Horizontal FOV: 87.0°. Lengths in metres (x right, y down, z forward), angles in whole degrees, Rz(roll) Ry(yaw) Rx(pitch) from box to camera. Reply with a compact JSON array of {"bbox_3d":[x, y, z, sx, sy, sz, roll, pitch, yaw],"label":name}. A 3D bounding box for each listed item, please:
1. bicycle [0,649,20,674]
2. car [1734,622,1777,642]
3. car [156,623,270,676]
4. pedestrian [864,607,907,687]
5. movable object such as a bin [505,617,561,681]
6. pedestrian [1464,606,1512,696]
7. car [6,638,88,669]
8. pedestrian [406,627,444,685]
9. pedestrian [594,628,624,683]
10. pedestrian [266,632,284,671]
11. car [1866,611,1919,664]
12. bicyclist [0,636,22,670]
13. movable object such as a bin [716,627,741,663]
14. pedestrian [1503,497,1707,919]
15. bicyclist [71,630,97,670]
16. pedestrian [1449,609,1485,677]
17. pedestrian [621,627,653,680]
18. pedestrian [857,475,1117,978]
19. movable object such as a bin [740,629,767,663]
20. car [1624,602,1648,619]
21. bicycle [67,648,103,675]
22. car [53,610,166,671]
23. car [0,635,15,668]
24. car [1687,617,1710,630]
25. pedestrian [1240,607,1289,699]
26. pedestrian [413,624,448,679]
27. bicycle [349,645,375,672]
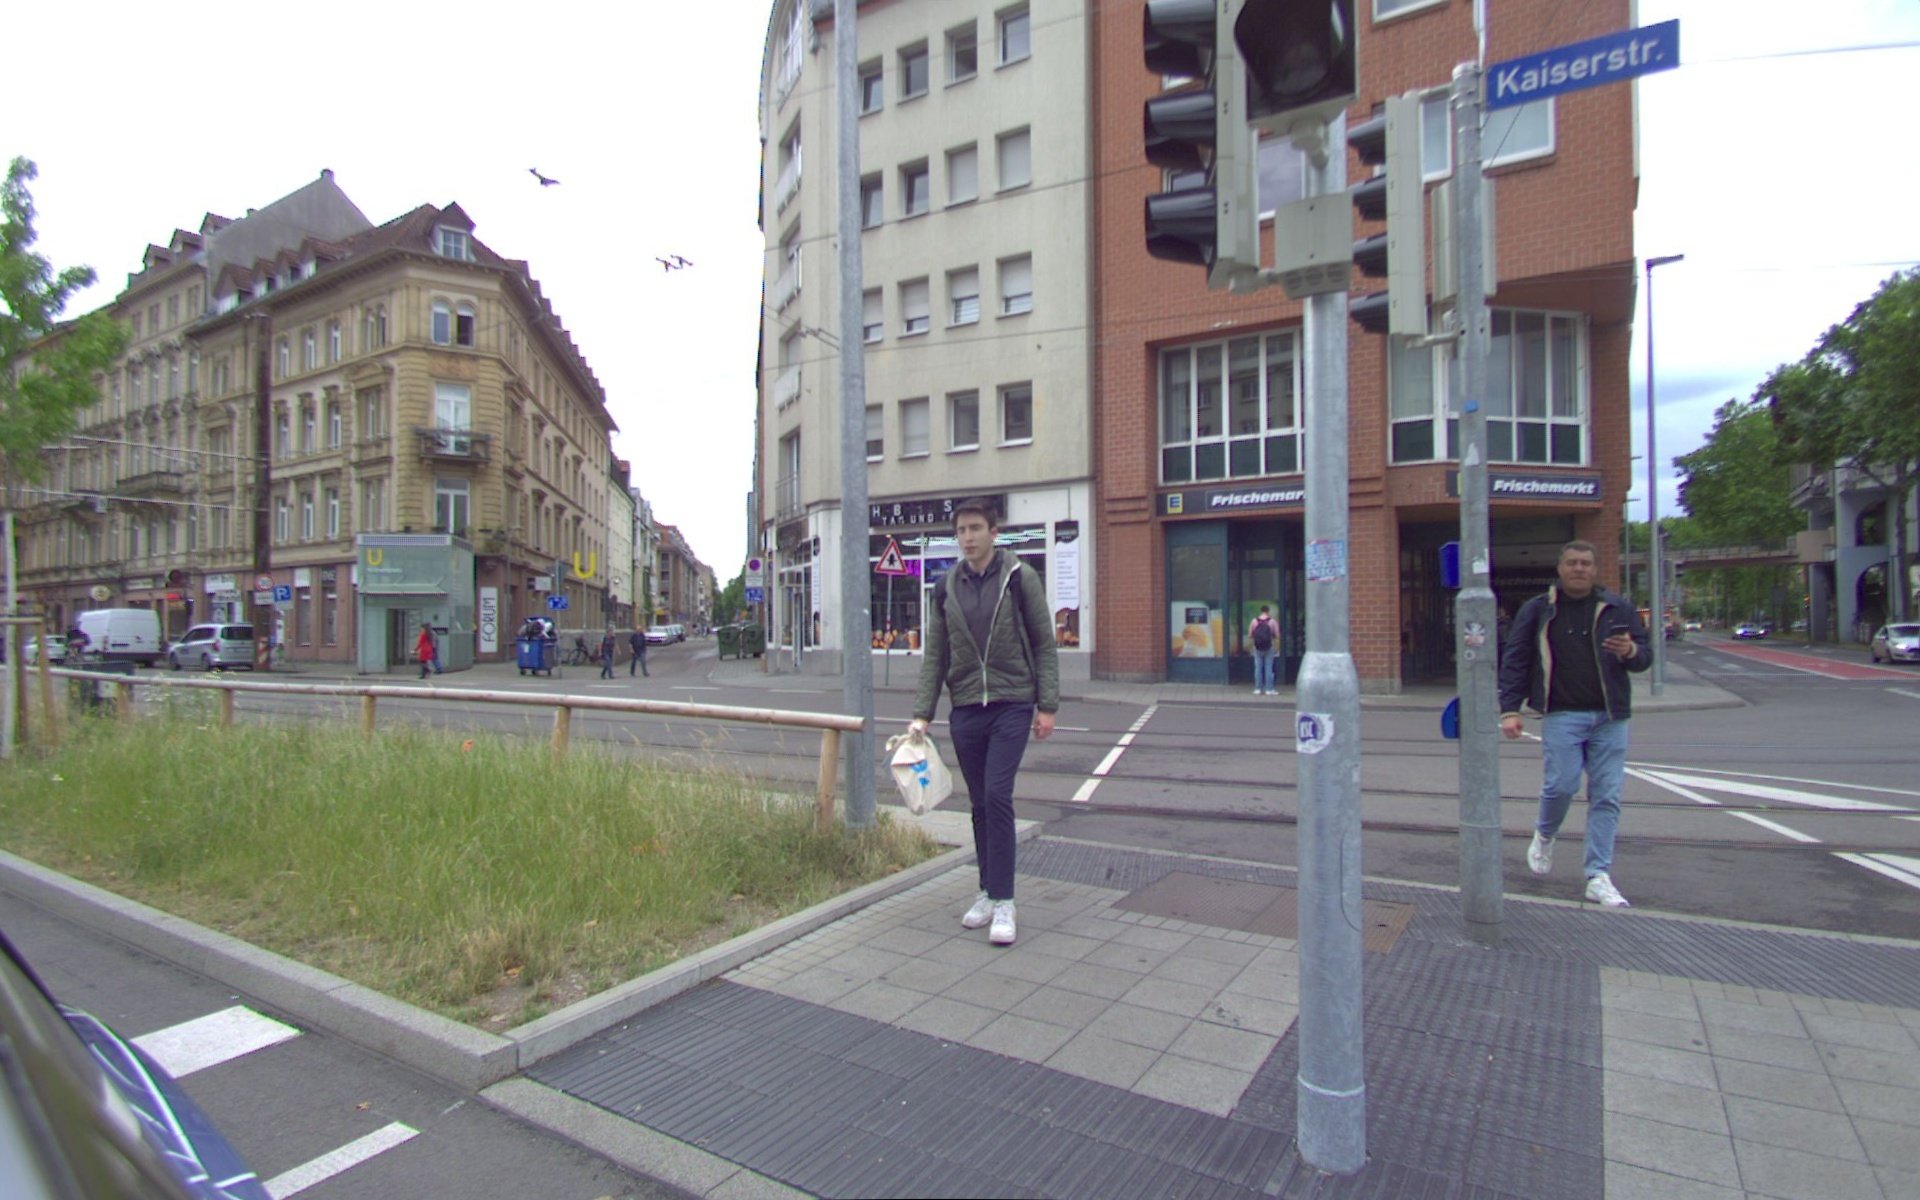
[{"bbox_3d":[-40.150,2.567,42.525,1.905,1.029,0.475,-2,-2,32],"label":"bicycle"},{"bbox_3d":[62.348,2.501,79.358,1.919,1.575,3.833,-1,-2,27],"label":"car"},{"bbox_3d":[-28.319,1.876,38.358,4.504,1.879,1.888,-2,-4,32],"label":"car"},{"bbox_3d":[-1.619,1.013,22.073,0.717,1.700,0.657,0,-1,21],"label":"pedestrian"},{"bbox_3d":[-13.890,1.576,32.917,1.616,1.996,1.021,0,-2,40],"label":"movable object such as a bin"},{"bbox_3d":[10.346,0.979,19.833,0.795,1.696,0.739,-1,0,28],"label":"pedestrian"},{"bbox_3d":[-43.618,2.566,48.318,4.150,1.434,1.757,-2,-4,32],"label":"car"},{"bbox_3d":[-15.893,1.644,30.045,0.658,1.700,0.717,0,-1,22],"label":"pedestrian"},{"bbox_3d":[-11.271,1.770,32.453,0.652,1.700,0.724,2,-2,-42],"label":"pedestrian"},{"bbox_3d":[-28.076,2.085,41.486,0.546,1.568,0.658,0,-1,-40],"label":"pedestrian"},{"bbox_3d":[34.323,1.313,36.151,1.919,1.807,3.963,-1,-2,27],"label":"car"},{"bbox_3d":[-39.908,2.232,42.527,0.809,1.417,0.475,-2,-3,31],"label":"bicyclist"},{"bbox_3d":[-9.896,1.907,43.228,0.930,1.512,1.242,-1,-1,-16],"label":"movable object such as a bin"},{"bbox_3d":[3.177,0.490,5.042,0.796,1.904,0.606,-1,-1,31],"label":"pedestrian"},{"bbox_3d":[-33.661,1.915,38.888,0.809,1.552,0.487,-2,-3,31],"label":"bicyclist"},{"bbox_3d":[12.968,1.075,25.864,0.795,1.696,0.739,-1,0,28],"label":"pedestrian"},{"bbox_3d":[-10.586,1.752,33.202,0.652,1.700,0.925,2,-2,-42],"label":"pedestrian"},{"bbox_3d":[0.139,0.477,4.420,0.796,1.904,0.890,-1,0,31],"label":"pedestrian"},{"bbox_3d":[-8.858,1.957,43.401,0.993,1.416,1.242,-1,-1,-16],"label":"movable object such as a bin"},{"bbox_3d":[75.190,1.137,112.659,1.920,1.807,3.668,-2,-2,30],"label":"car"},{"bbox_3d":[-33.614,2.357,38.876,1.905,1.029,0.472,-2,-2,32],"label":"bicycle"},{"bbox_3d":[-37.173,1.809,44.171,5.646,2.506,2.037,-2,-4,32],"label":"car"},{"bbox_3d":[-51.775,2.691,53.056,5.034,1.702,1.905,-2,-4,32],"label":"car"},{"bbox_3d":[89.854,2.850,123.178,1.671,1.559,3.672,-1,-2,27],"label":"car"},{"bbox_3d":[5.813,0.990,19.317,0.795,1.696,0.565,-1,0,29],"label":"pedestrian"},{"bbox_3d":[-16.950,1.634,32.383,0.812,1.700,0.724,2,-2,-40],"label":"pedestrian"},{"bbox_3d":[-23.119,2.252,39.117,1.686,0.966,0.336,-2,-1,40],"label":"bicycle"}]
